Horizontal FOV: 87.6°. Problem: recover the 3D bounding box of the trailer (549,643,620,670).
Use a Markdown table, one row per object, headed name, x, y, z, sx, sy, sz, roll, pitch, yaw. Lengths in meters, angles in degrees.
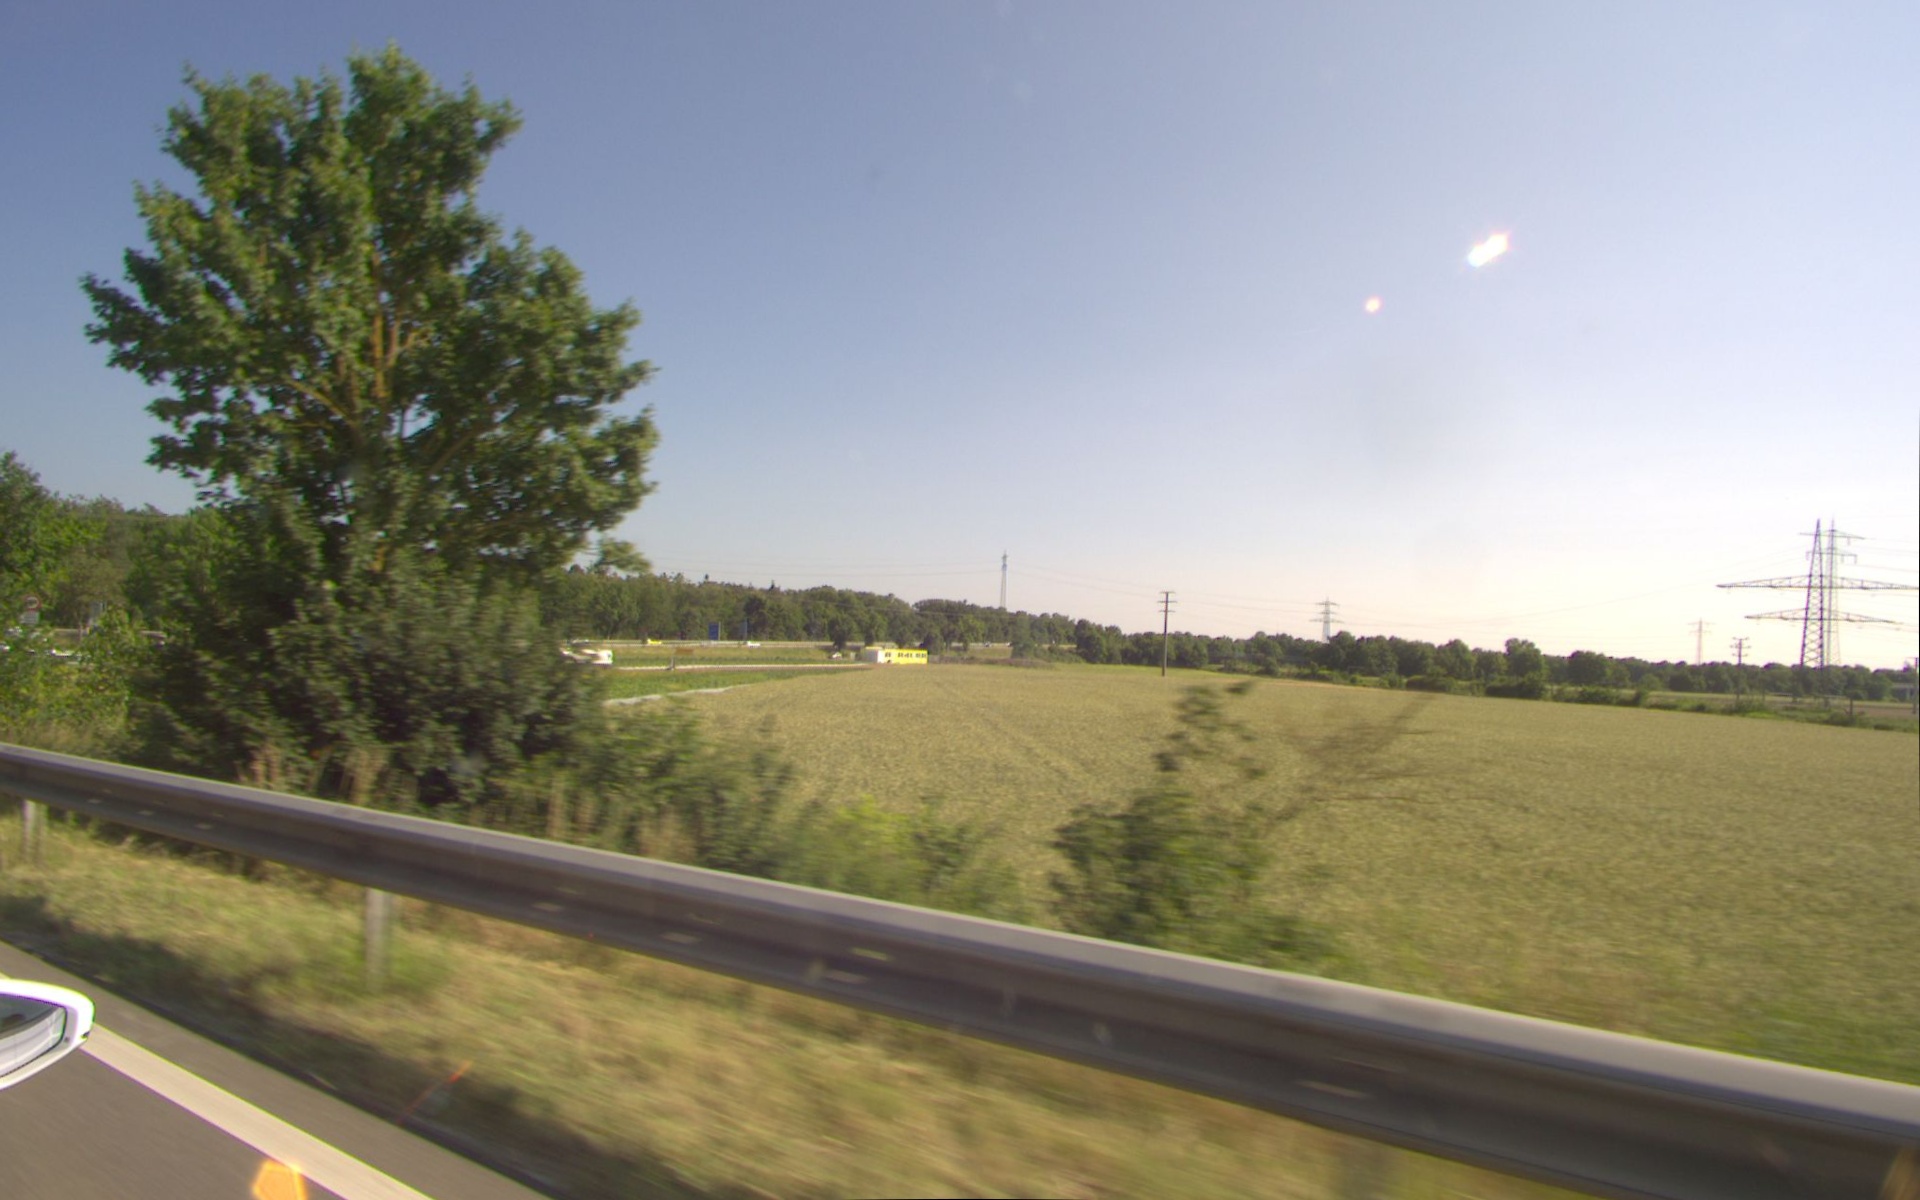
| name | x | y | z | sx | sy | sz | roll | pitch | yaw |
| --- | --- | --- | --- | --- | --- | --- | --- | --- | --- |
| trailer | -42.209 | 6.390 | 112.684 | 6.741 | 2.703 | 2.867 | 5 | -4 | -42 |
